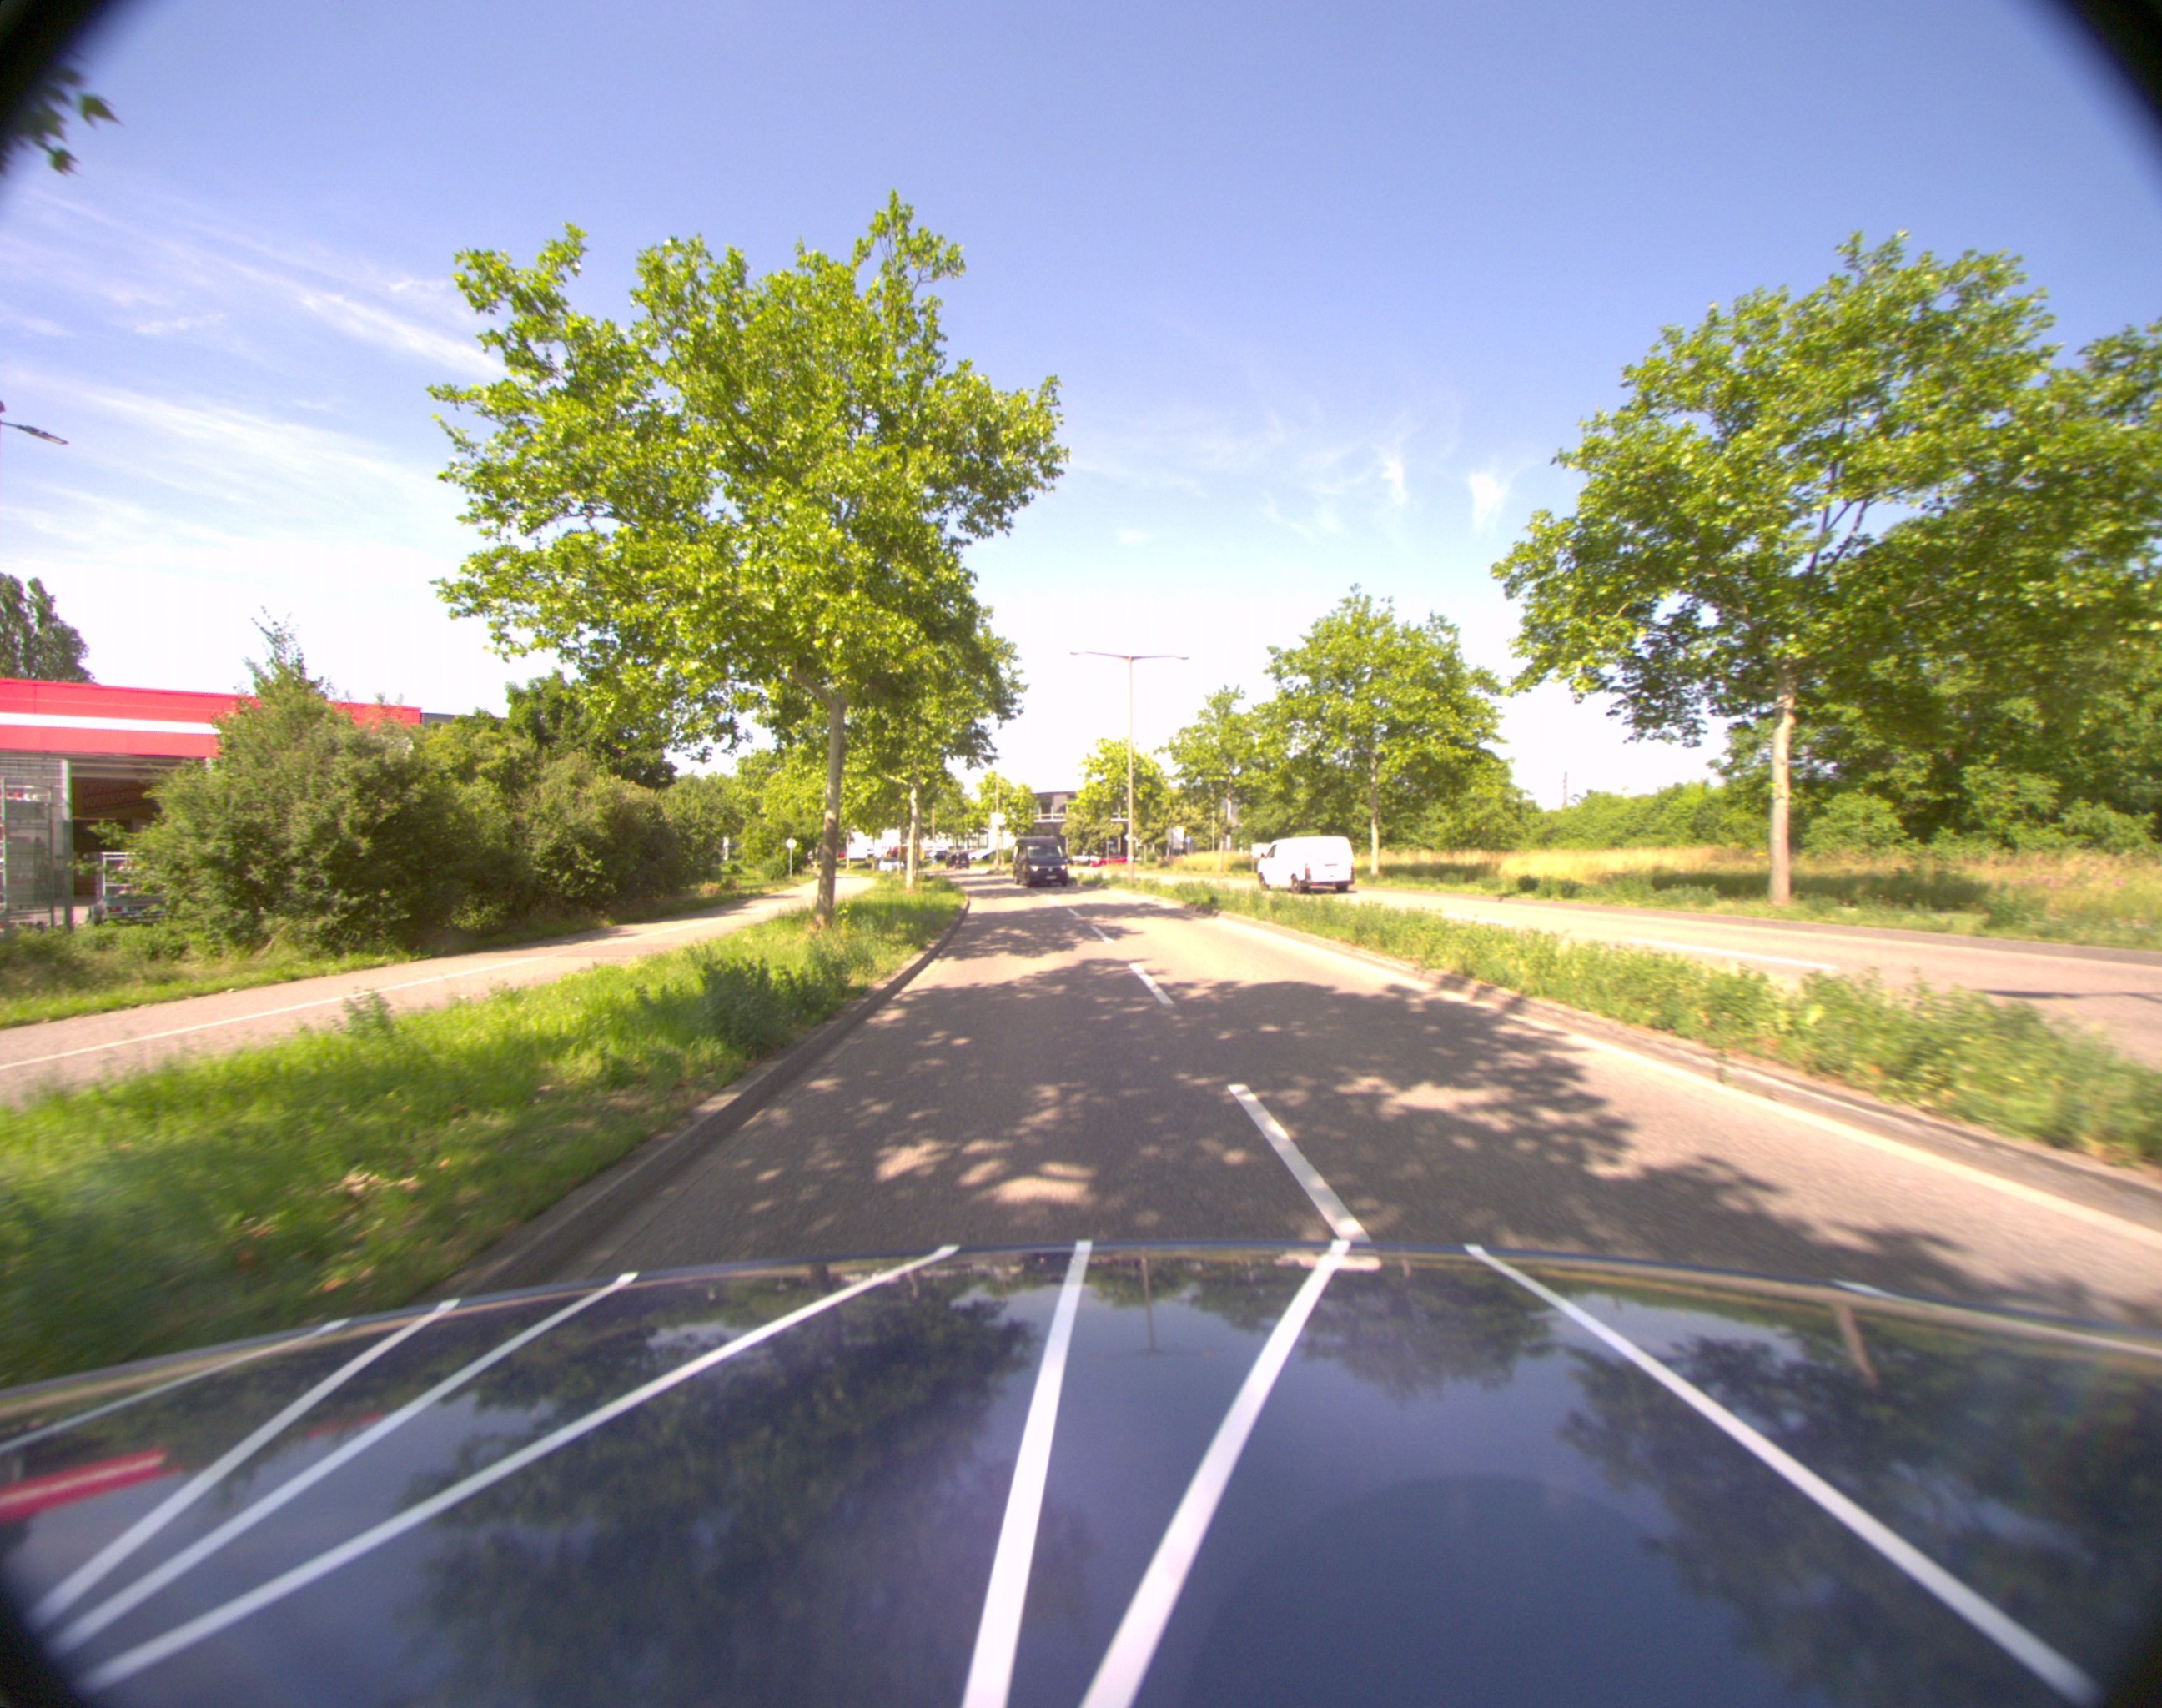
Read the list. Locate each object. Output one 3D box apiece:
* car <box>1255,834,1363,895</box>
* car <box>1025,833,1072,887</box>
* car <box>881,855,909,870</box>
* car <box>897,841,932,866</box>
[{"bbox_3d":[8.159,0.334,27.681,2.000,2.002,4.512,-1,0,-9],"label":"car"},{"bbox_3d":[-1.790,0.287,39.862,2.022,2.592,6.165,-1,0,-6],"label":"car"},{"bbox_3d":[-19.882,0.898,81.157,1.828,1.512,4.198,-1,1,-30],"label":"car"},{"bbox_3d":[-23.754,-0.054,108.087,2.791,3.412,5.995,-3,1,-33],"label":"car"}]
